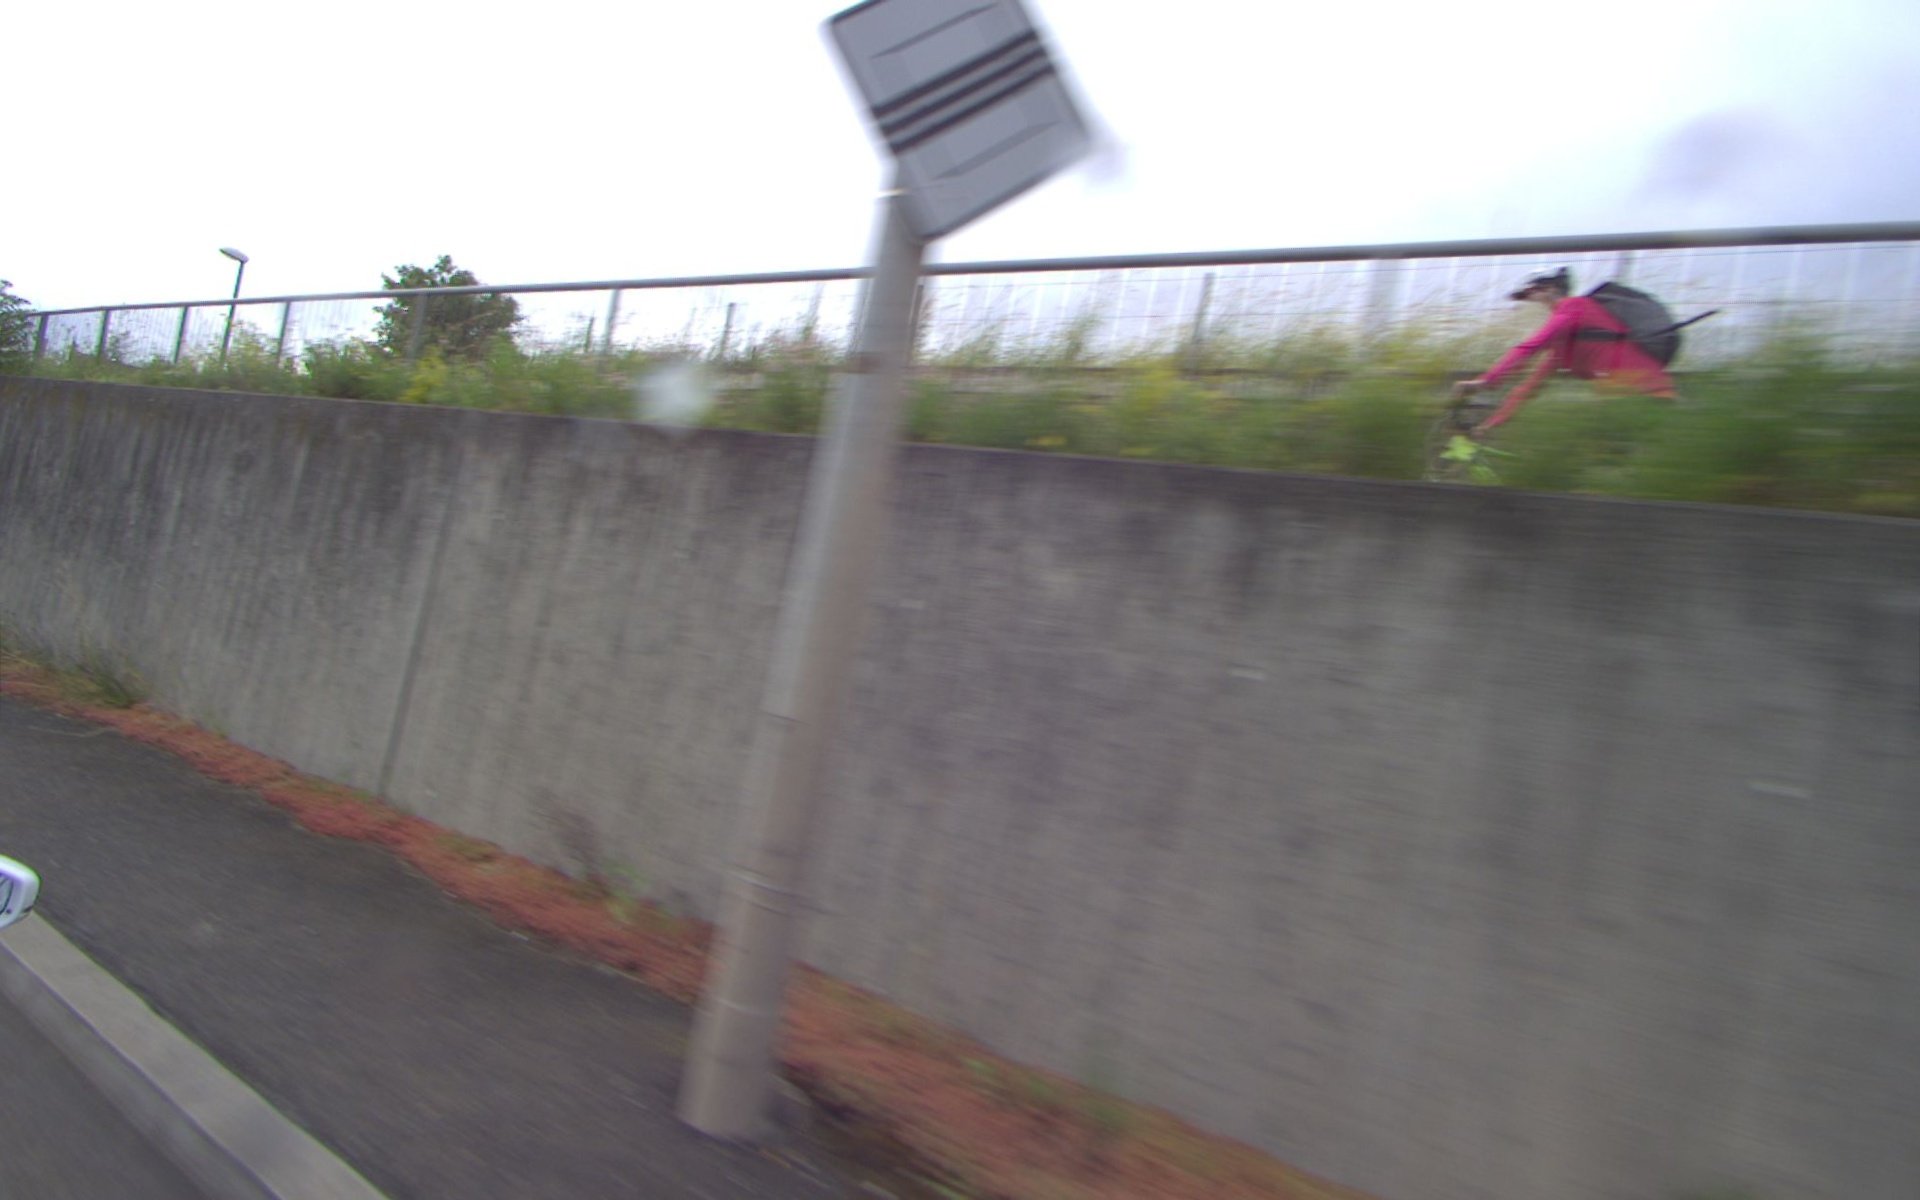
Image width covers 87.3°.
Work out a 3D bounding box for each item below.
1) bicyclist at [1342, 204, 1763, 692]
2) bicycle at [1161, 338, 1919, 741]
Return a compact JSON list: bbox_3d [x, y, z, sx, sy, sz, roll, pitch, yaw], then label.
[{"bbox_3d":[2.698,-0.679,4.707,1.272,1.928,0.872,11,-2,30],"label":"bicyclist"},{"bbox_3d":[2.803,-0.342,4.594,3.427,1.301,0.872,11,-2,31],"label":"bicycle"}]
